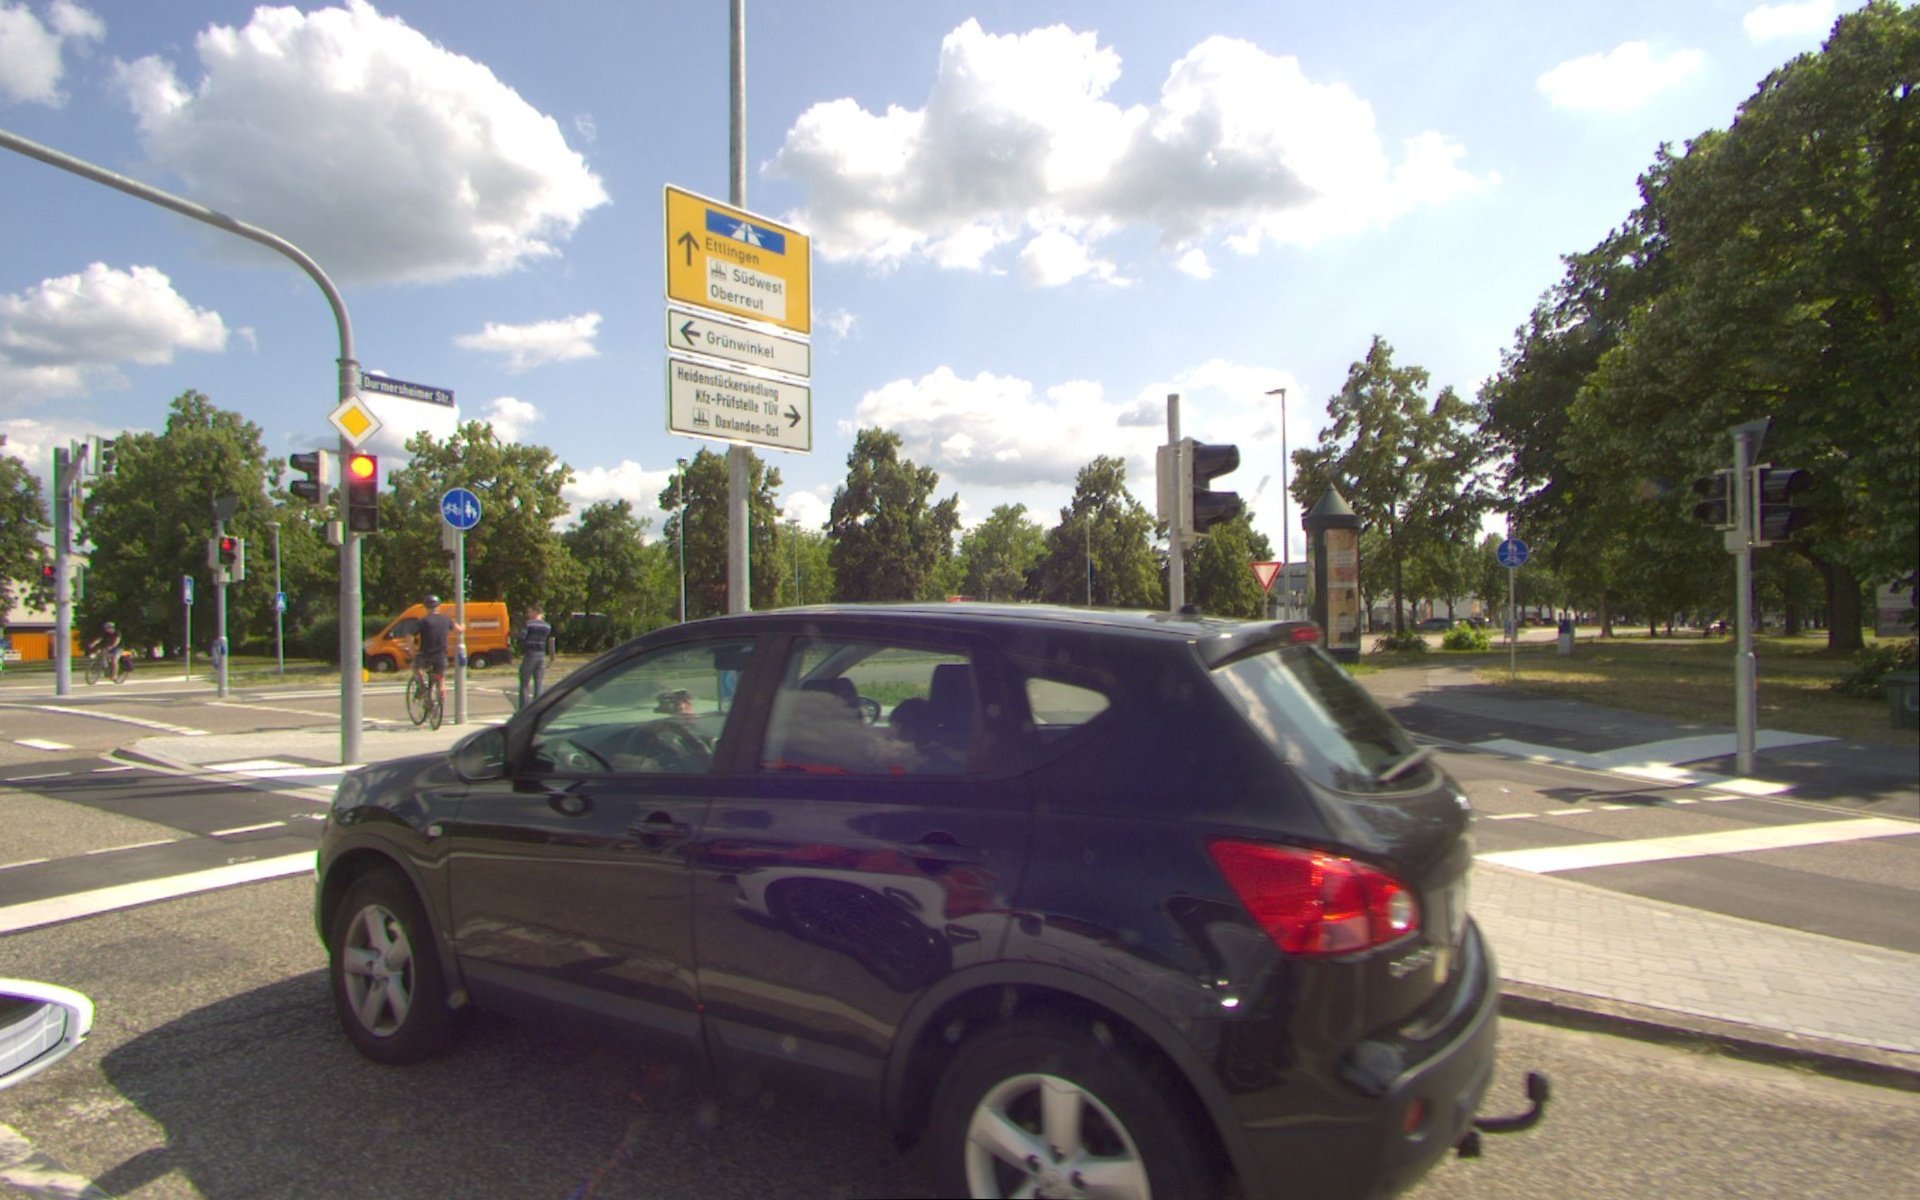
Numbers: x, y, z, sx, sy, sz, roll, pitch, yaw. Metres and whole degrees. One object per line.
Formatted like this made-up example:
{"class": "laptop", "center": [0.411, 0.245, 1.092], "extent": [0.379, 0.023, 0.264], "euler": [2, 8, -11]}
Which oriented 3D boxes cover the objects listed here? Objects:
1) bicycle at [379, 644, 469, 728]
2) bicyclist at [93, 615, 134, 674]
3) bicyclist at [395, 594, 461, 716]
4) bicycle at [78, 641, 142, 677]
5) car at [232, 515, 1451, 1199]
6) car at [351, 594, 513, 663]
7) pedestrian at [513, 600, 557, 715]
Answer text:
{"class": "bicycle", "center": [-7.714, 1.212, 14.378], "extent": [0.644, 1.121, 1.910], "euler": [3, -4, -43]}
{"class": "bicyclist", "center": [-26.854, 1.404, 31.770], "extent": [0.673, 1.827, 0.789], "euler": [0, -1, -12]}
{"class": "bicyclist", "center": [-7.578, 0.788, 14.256], "extent": [0.644, 1.682, 0.644], "euler": [3, -4, -44]}
{"class": "bicycle", "center": [-26.823, 1.843, 31.646], "extent": [0.673, 1.107, 2.002], "euler": [0, -2, -12]}
{"class": "car", "center": [-0.545, 0.741, 3.502], "extent": [3.941, 1.571, 1.798], "euler": [-2, -4, 31]}
{"class": "car", "center": [-18.477, 1.073, 35.363], "extent": [4.780, 2.253, 2.207], "euler": [2, -3, -22]}
{"class": "pedestrian", "center": [-6.800, 0.920, 16.018], "extent": [0.477, 1.800, 0.462], "euler": [-2, -3, 42]}
